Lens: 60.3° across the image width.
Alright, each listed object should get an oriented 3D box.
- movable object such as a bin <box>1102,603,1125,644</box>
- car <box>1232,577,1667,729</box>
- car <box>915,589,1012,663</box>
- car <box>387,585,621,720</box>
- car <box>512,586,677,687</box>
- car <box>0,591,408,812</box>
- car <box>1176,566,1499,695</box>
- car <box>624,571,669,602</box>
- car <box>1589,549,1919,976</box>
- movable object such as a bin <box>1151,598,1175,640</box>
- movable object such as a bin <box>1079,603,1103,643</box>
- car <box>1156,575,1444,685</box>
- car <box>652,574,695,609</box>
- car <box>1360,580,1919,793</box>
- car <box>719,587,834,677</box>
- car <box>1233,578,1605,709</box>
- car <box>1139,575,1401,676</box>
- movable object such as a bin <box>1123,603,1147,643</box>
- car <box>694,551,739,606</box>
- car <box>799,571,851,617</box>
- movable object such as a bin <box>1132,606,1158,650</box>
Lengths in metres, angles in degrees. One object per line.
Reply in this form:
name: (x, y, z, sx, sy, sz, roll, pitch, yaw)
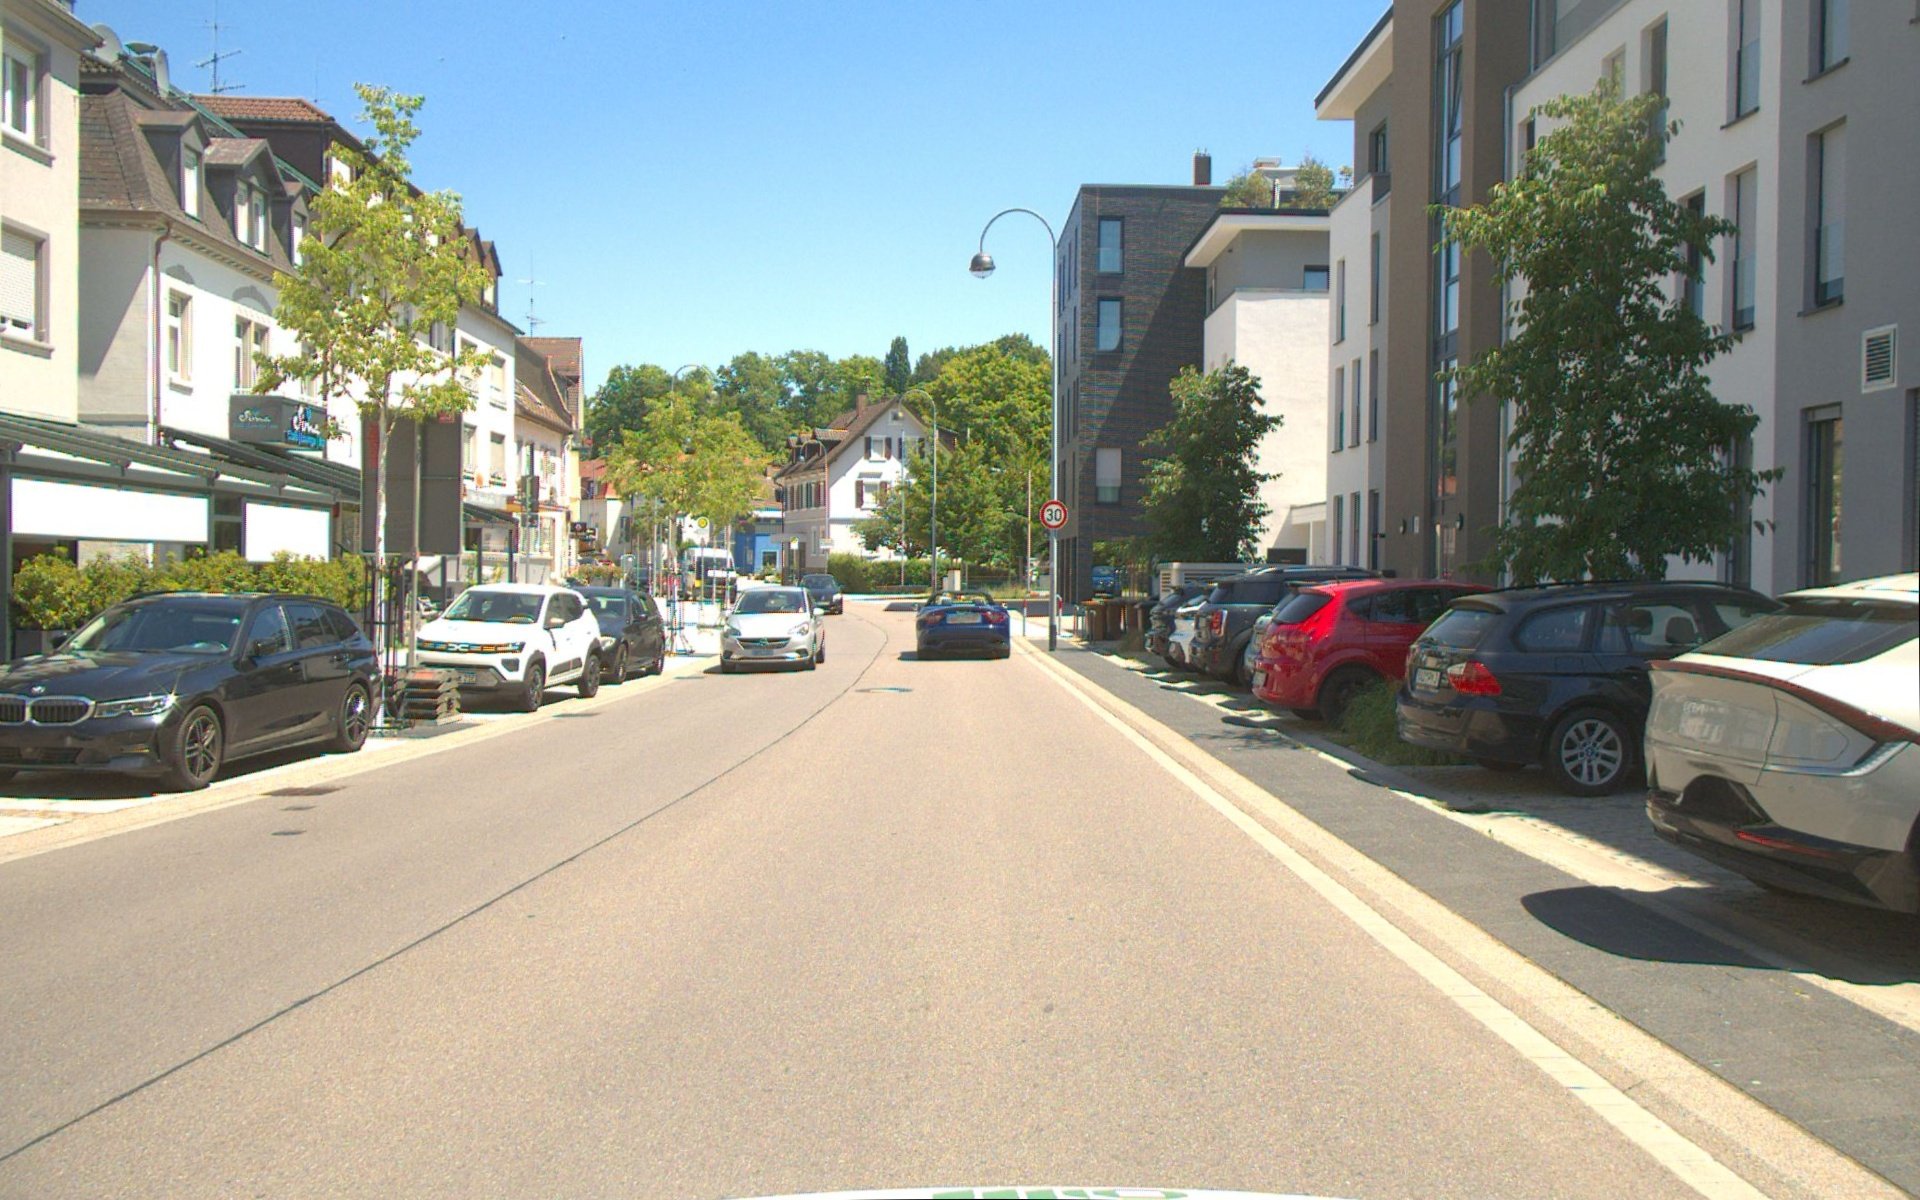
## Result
movable object such as a bin: (3.682, 0.559, 39.639, 0.485, 0.945, 0.623, -1, 0, 0)
car: (4.910, 0.507, 16.952, 3.890, 1.433, 1.856, -1, 0, -2)
car: (0.136, 0.487, 34.104, 1.832, 1.365, 4.597, -1, 0, 2)
car: (-5.761, 0.593, 21.364, 1.610, 1.505, 3.943, 2, 1, 5)
car: (-5.802, 0.528, 26.719, 1.635, 1.469, 4.011, 0, 1, 2)
car: (-6.450, 0.694, 13.954, 1.796, 1.454, 4.784, 2, 1, 2)
car: (5.008, 0.393, 22.350, 3.900, 1.633, 1.942, 0, 0, -2)
car: (-18.557, -0.817, 97.781, 1.964, 1.722, 3.977, 1, 1, -20)
car: (5.302, 0.605, 7.043, 4.494, 1.556, 2.000, 0, 0, 0)
movable object such as a bin: (4.578, 0.428, 37.311, 0.485, 0.945, 0.623, 0, 0, 0)
movable object such as a bin: (3.140, 0.542, 39.655, 0.526, 0.945, 0.623, -1, 0, 0)
car: (5.027, 0.436, 24.835, 3.900, 1.556, 1.942, 0, 0, -2)
car: (-14.912, -0.421, 85.980, 1.960, 1.769, 3.986, 0, 0, -14)
car: (5.314, 0.601, 12.309, 4.173, 1.441, 1.927, 0, 0, -4)
car: (-3.297, 0.533, 30.362, 1.652, 1.484, 4.058, -1, 1, 0)
car: (5.343, 0.493, 19.584, 3.900, 1.457, 1.762, 0, 0, -2)
car: (4.969, 0.398, 26.836, 3.900, 1.556, 1.740, 0, 0, -2)
movable object such as a bin: (4.195, 0.549, 39.647, 0.485, 0.945, 0.623, -1, 0, 0)
car: (-11.465, -1.004, 77.545, 1.834, 2.442, 4.805, 0, 1, -12)
car: (-5.141, -0.227, 62.700, 1.630, 1.634, 3.991, -1, 0, -9)
movable object such as a bin: (4.062, 0.603, 36.276, 0.485, 0.945, 0.623, -1, 0, 0)
